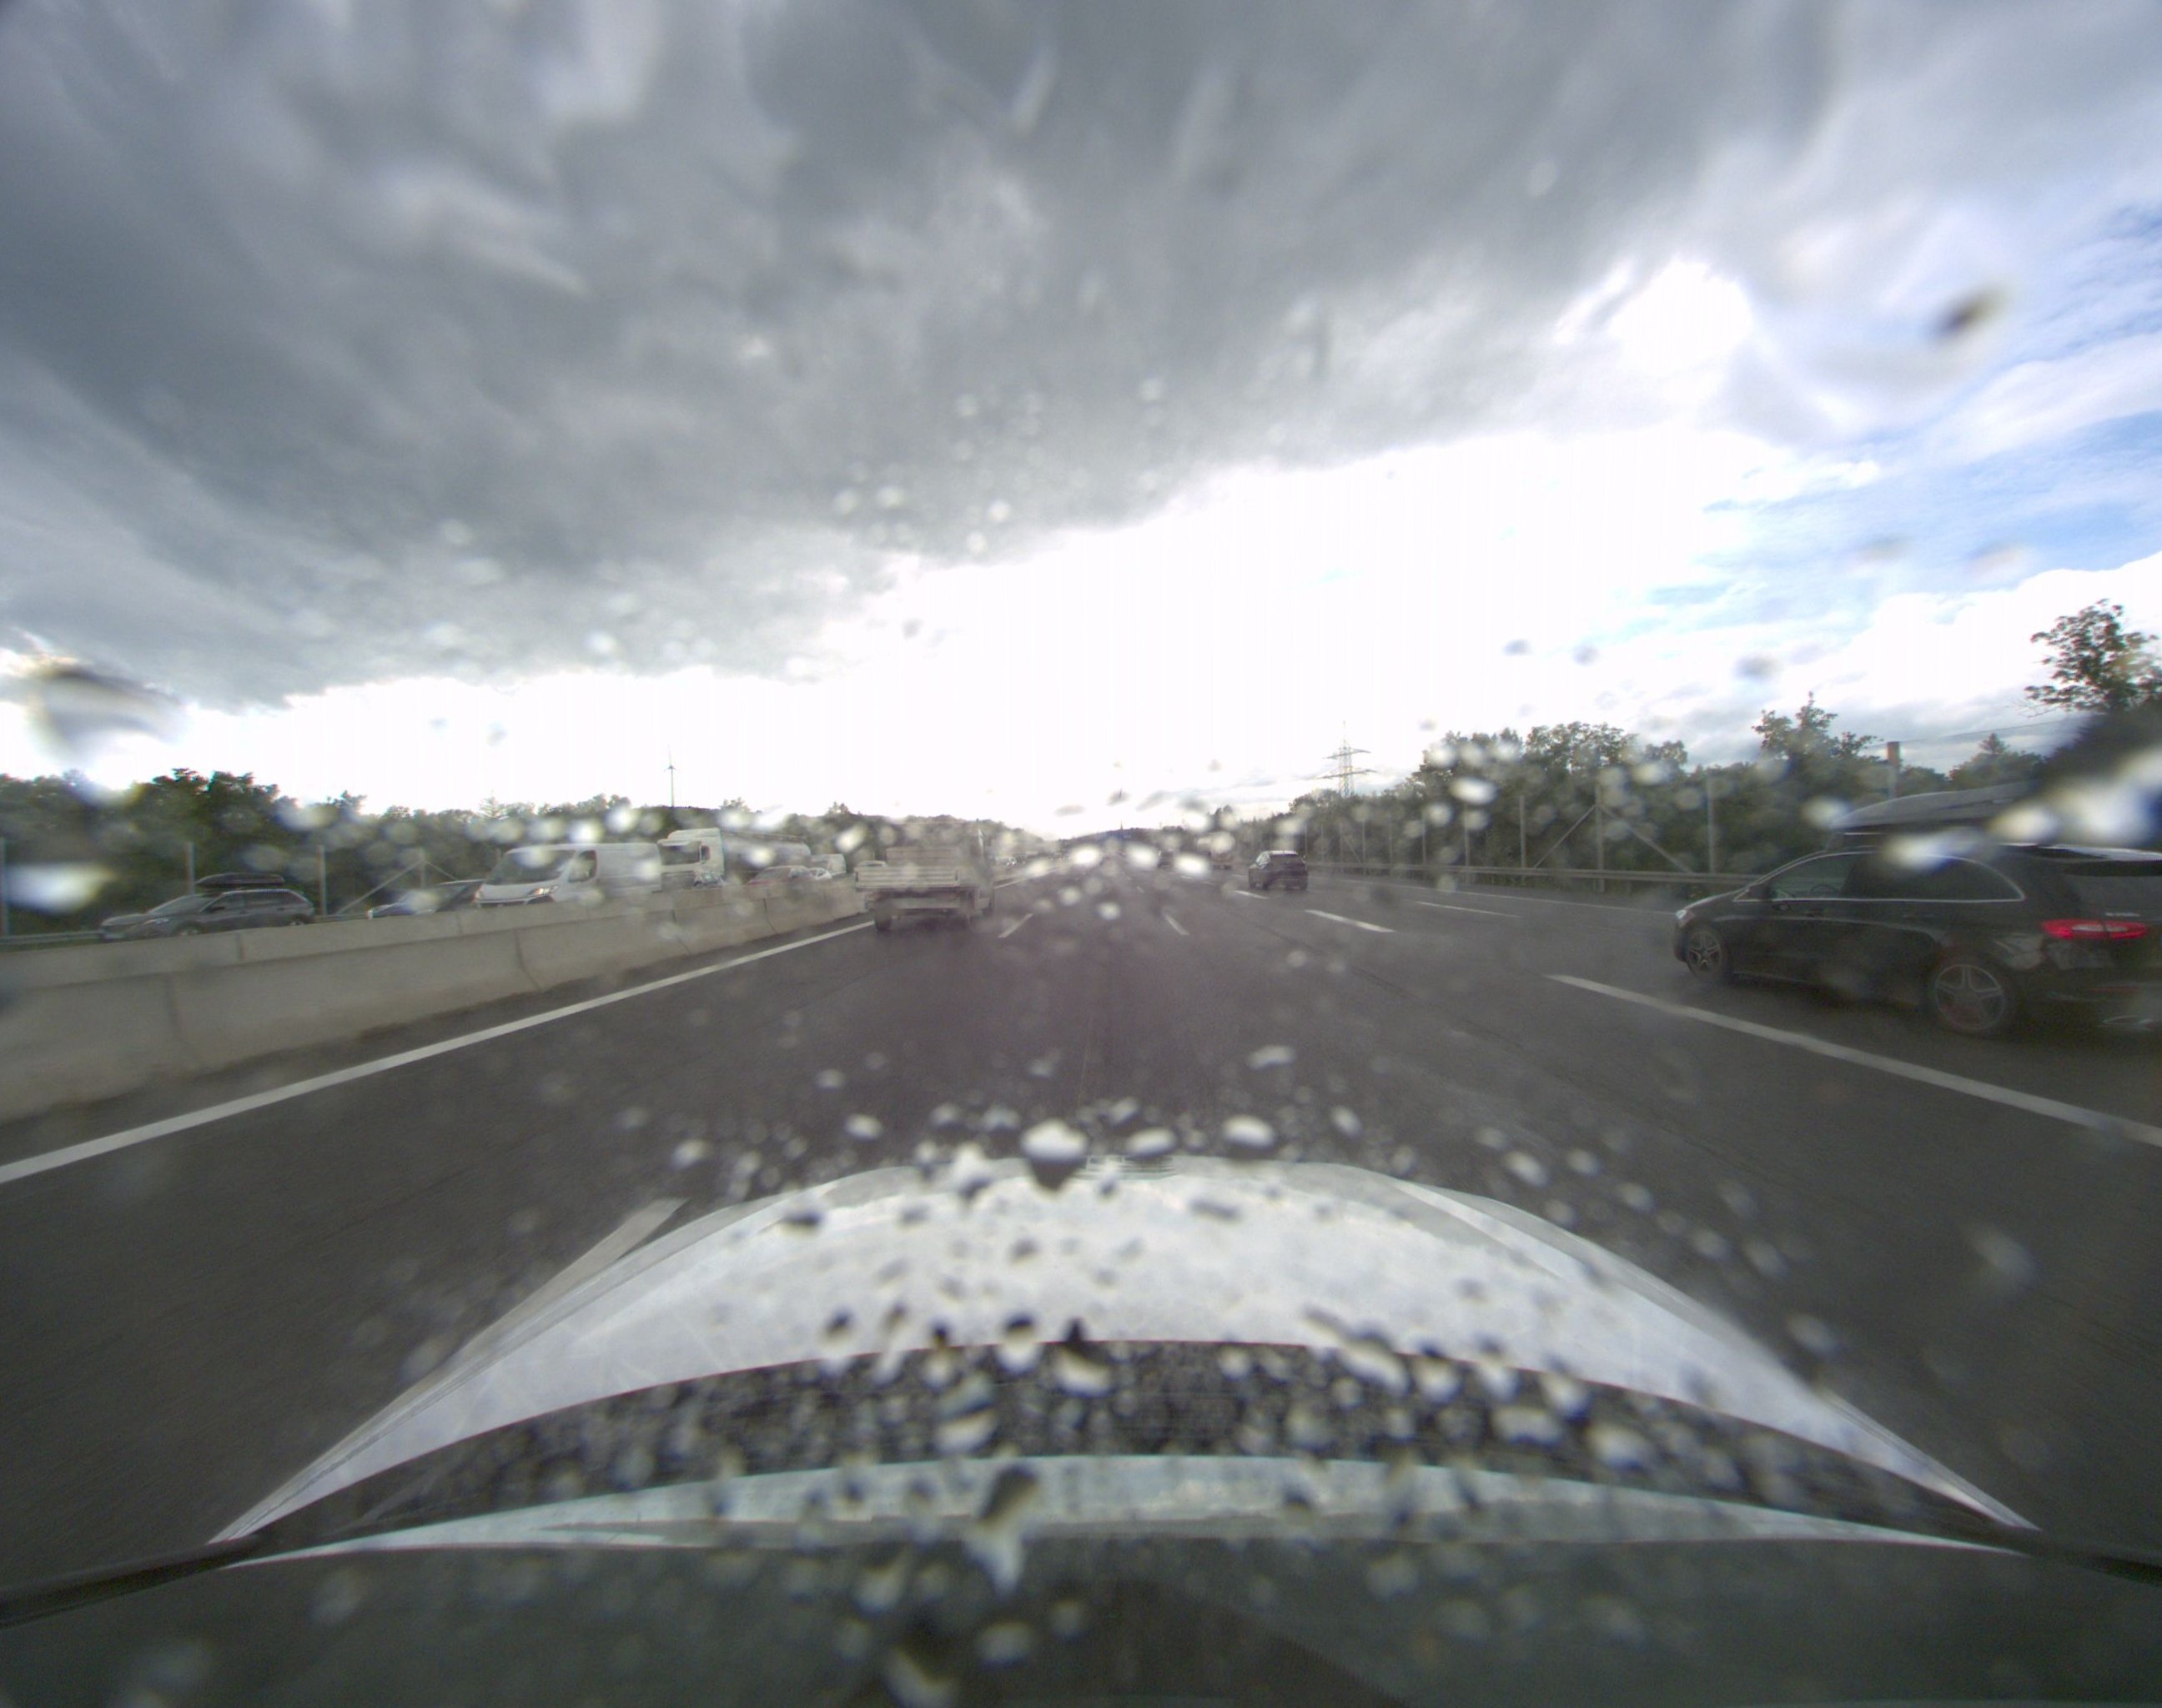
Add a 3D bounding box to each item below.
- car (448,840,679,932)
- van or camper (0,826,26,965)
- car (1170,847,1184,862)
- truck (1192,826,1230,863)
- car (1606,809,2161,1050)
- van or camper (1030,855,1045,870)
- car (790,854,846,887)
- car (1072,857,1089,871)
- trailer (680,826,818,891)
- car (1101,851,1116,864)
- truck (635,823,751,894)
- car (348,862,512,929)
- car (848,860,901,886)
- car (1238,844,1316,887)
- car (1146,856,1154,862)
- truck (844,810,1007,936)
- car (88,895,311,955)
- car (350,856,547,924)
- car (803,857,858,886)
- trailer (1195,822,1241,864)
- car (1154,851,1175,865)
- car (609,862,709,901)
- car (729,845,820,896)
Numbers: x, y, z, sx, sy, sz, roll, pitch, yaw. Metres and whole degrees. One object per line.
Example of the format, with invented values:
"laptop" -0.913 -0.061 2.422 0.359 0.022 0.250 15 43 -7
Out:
"car" -12.700 0.700 20.606 2.087 1.969 5.633 -1 0 2
"van or camper" -18.069 0.665 10.607 2.087 2.186 4.973 -1 0 2
"car" 17.000 0.118 144.042 2.037 2.498 4.001 -1 0 2
"truck" 14.790 -1.029 93.405 3.320 4.080 8.275 -1 0 2
"car" 7.842 0.486 7.999 2.098 1.605 5.065 -1 0 0
"van or camper" -8.105 1.507 153.179 2.170 2.705 7.524 -1 0 2
"car" -16.657 1.023 51.815 1.719 1.969 5.045 -1 0 2
"car" -0.043 1.210 103.182 2.037 1.699 4.001 -1 0 2
"trailer" -20.383 0.257 51.457 2.700 3.526 13.615 -1 0 2
"car" 3.765 0.414 111.957 2.037 1.699 4.002 -1 0 2
"truck" -20.647 0.233 43.833 2.718 3.514 6.802 -1 0 2
"car" -21.194 1.270 26.763 2.087 1.969 4.002 -1 0 2
"car" -12.581 1.130 49.927 1.758 1.484 4.974 -1 -1 2
"car" 8.305 0.469 34.966 2.039 1.699 5.004 -1 0 -1
"car" 19.758 1.360 233.580 1.986 1.750 4.498 -1 -1 2
"truck" -3.333 0.367 19.374 2.345 2.408 7.359 0 0 1
"car" -24.647 1.942 23.018 1.882 1.321 4.002 -1 0 2
"car" -17.135 0.891 22.416 1.856 1.661 4.428 -1 0 2
"car" -20.046 1.341 65.505 2.108 2.149 6.621 -1 0 2
"trailer" 14.578 -1.040 87.522 3.320 4.176 11.843 -1 0 2
"car" 10.302 0.453 100.528 2.092 1.699 3.998 -1 0 -2
"car" -17.609 1.098 34.253 1.793 1.503 4.353 -1 -1 2
"car" -12.800 0.635 34.327 1.856 1.969 4.808 -1 0 2
